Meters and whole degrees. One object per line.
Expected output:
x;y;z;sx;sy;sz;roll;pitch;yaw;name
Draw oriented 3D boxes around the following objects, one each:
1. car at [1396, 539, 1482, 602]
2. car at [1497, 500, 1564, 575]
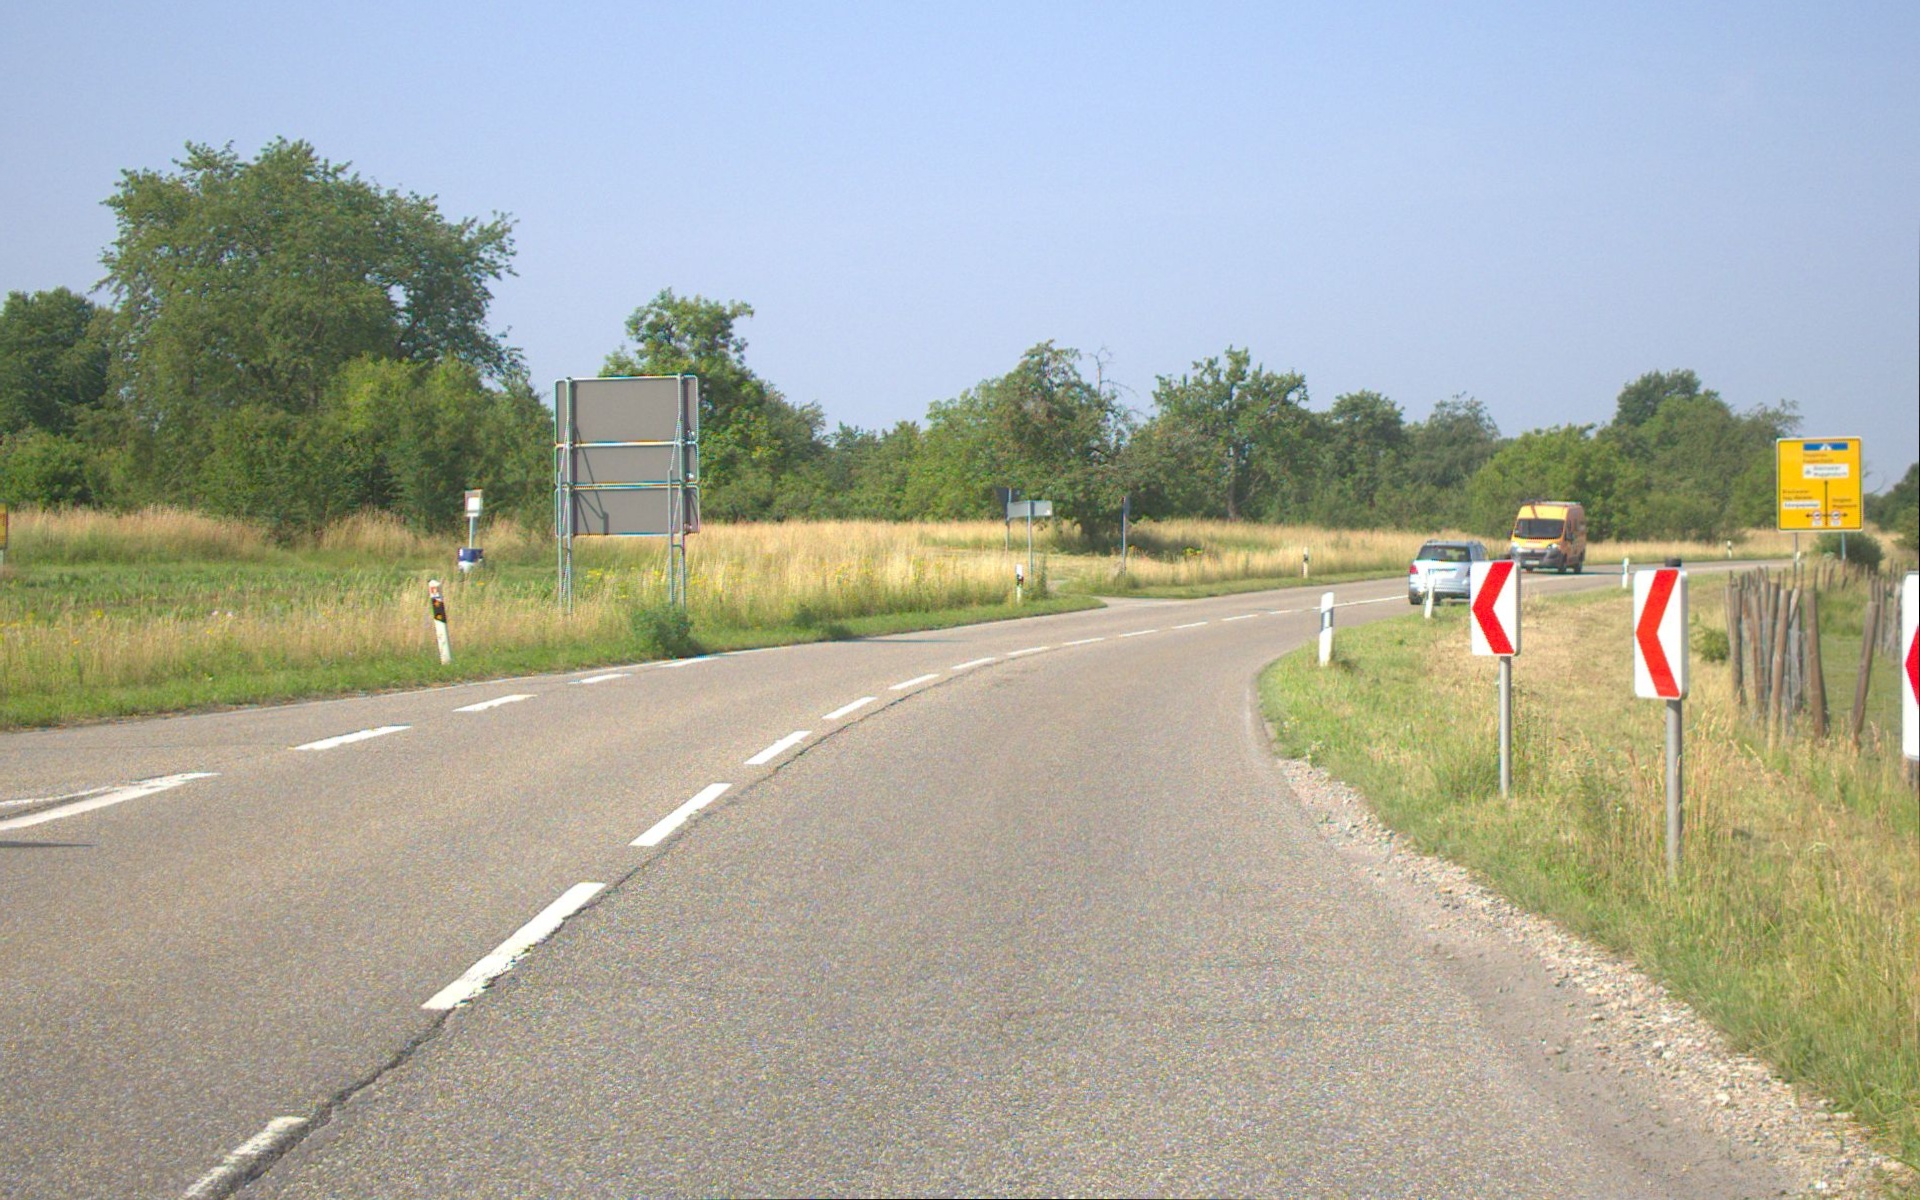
12.216;-0.774;87.541;1.900;1.506;3.998;2;1;11;car
21.025;-2.324;126.654;2.125;2.686;5.265;1;1;12;car
